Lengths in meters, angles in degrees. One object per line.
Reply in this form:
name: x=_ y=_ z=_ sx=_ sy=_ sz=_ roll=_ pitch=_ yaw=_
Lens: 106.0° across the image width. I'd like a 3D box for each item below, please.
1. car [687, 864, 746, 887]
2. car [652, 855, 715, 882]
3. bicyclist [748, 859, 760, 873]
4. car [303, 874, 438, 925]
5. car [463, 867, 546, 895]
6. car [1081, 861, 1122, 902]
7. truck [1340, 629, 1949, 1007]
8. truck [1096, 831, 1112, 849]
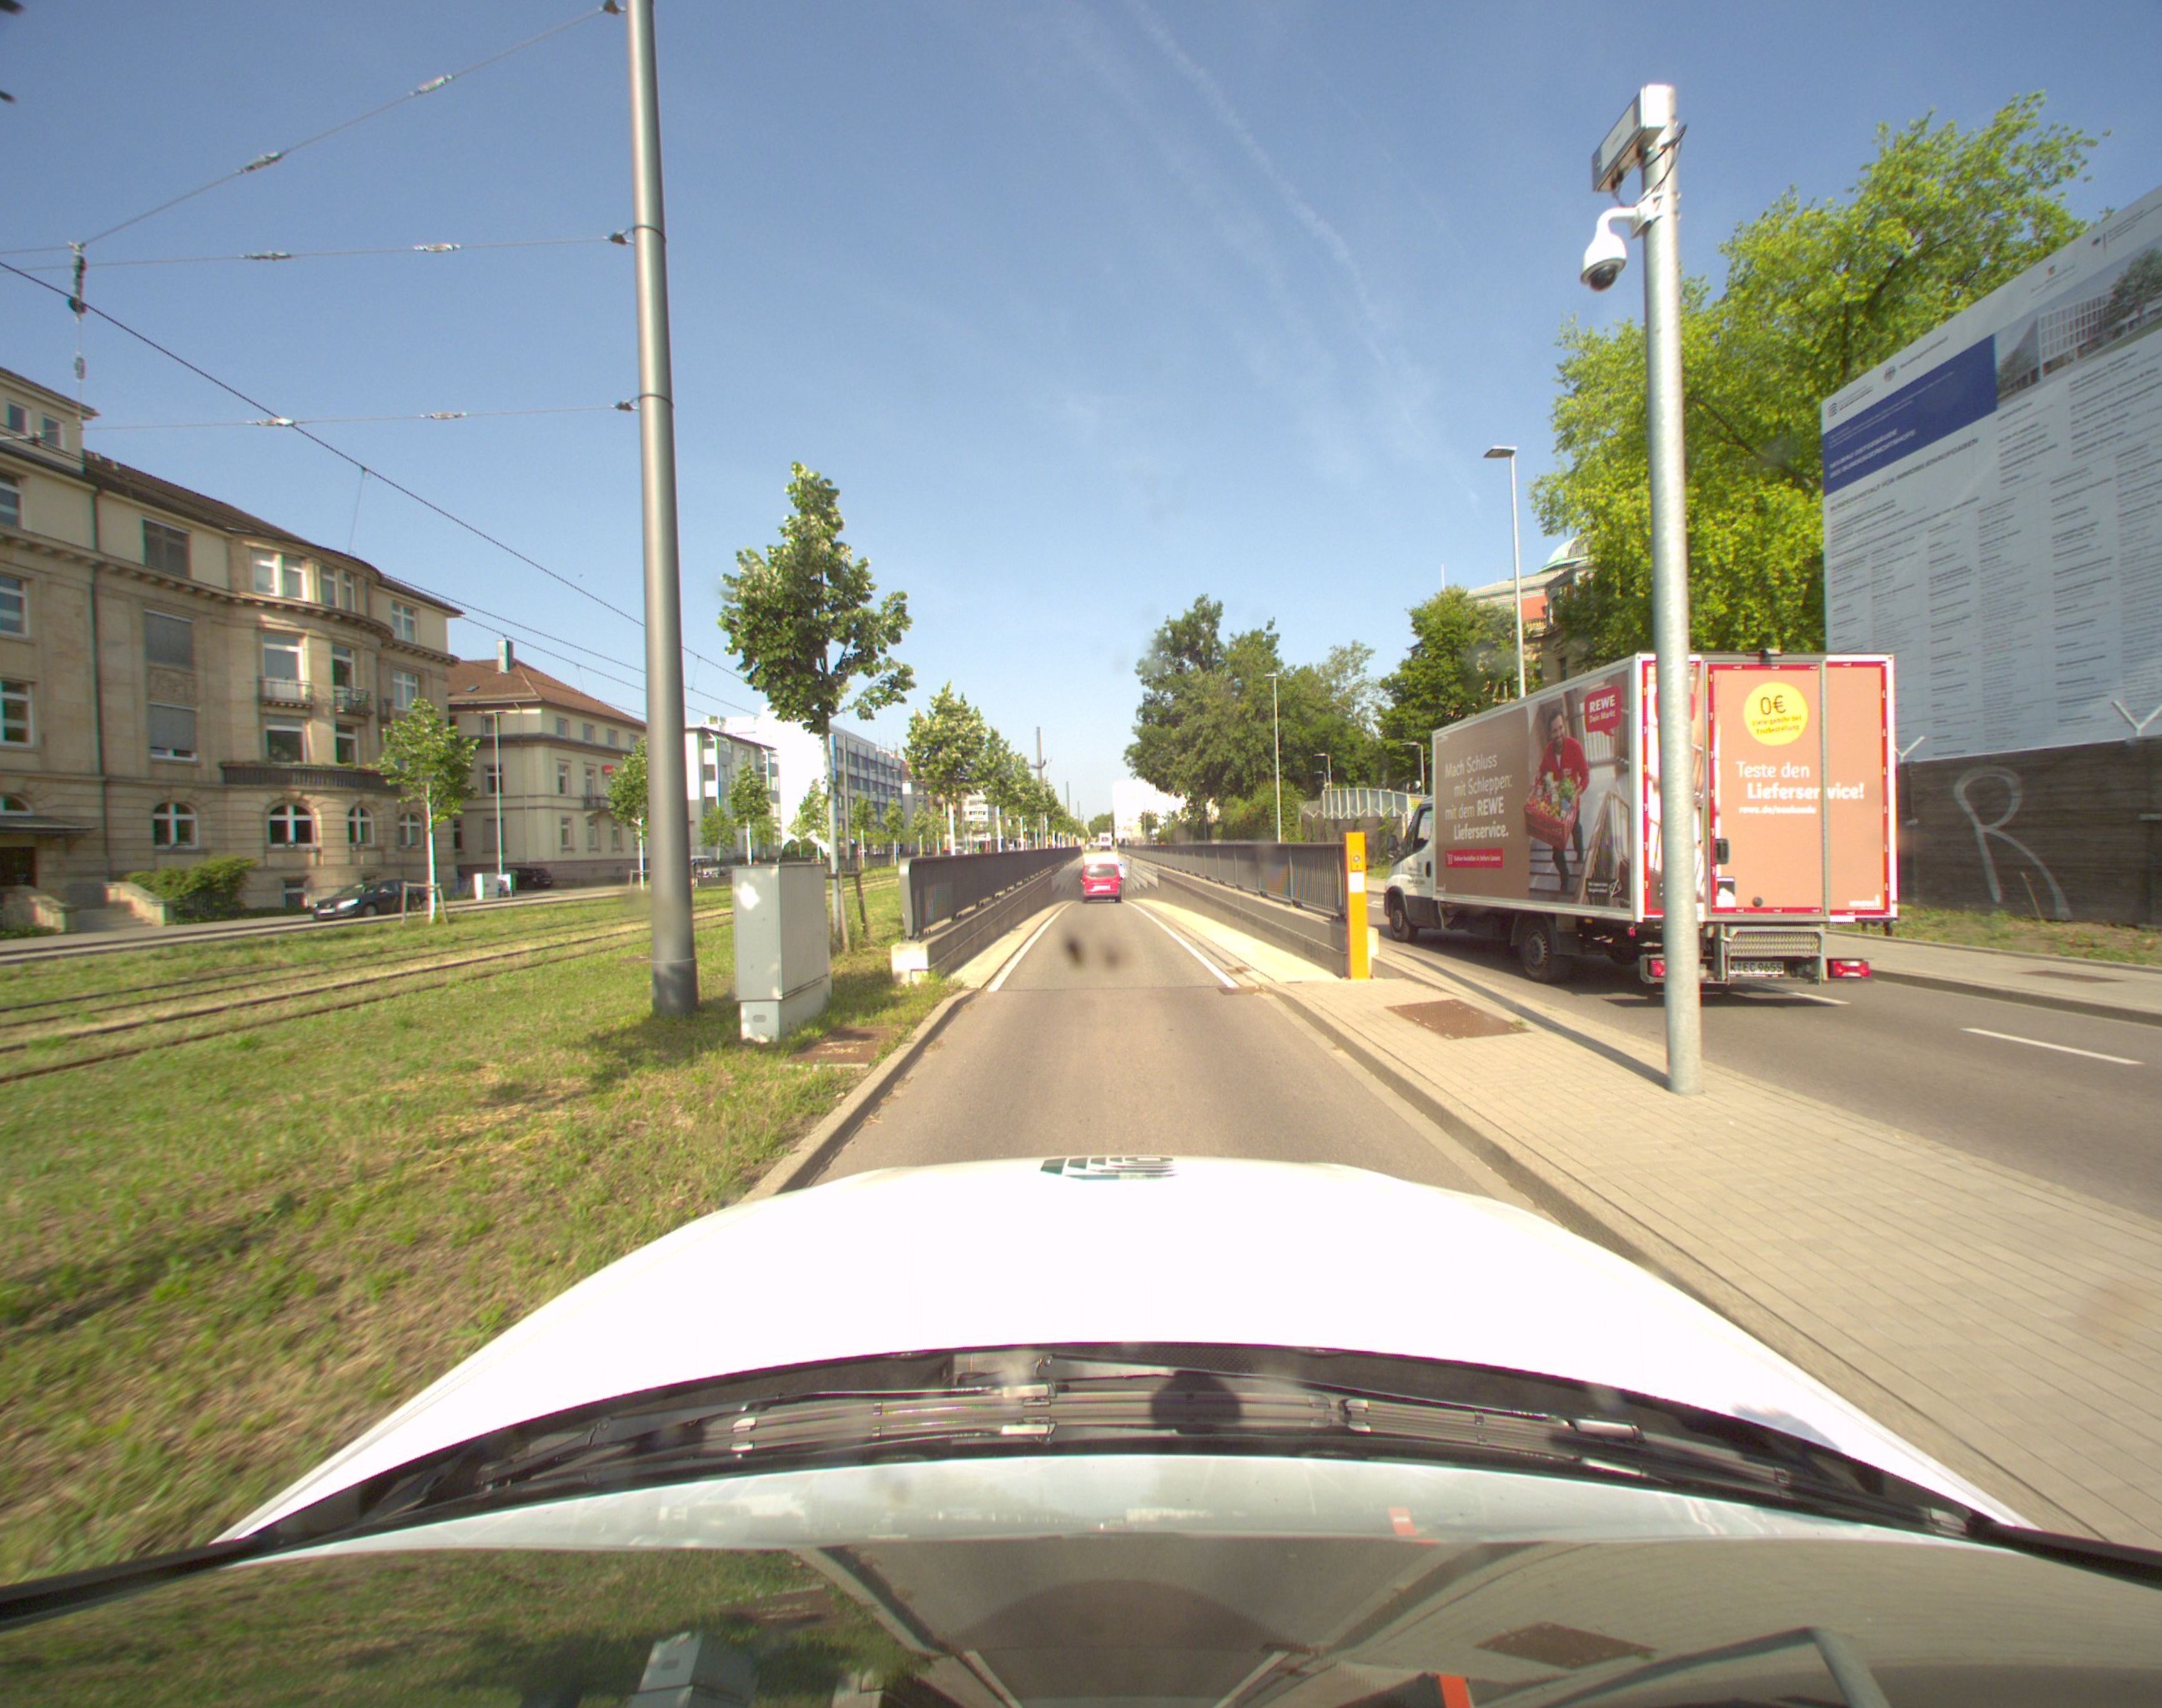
car: x=-25.578 y=1.486 z=57.344 sx=1.986 sy=1.467 sz=4.439 roll=-2 pitch=-1 yaw=2
car: x=-30.296 y=1.107 z=62.301 sx=2.242 sy=2.014 sz=5.262 roll=0 pitch=-1 yaw=0
bicyclist: x=-28.100 y=1.025 z=70.034 sx=0.530 sy=1.178 sz=1.251 roll=0 pitch=2 yaw=0
car: x=-26.060 y=1.621 z=30.051 sx=1.513 sy=1.464 sz=3.825 roll=-2 pitch=2 yaw=0
car: x=-36.472 y=1.705 z=51.569 sx=3.977 sy=1.552 sz=1.653 roll=-2 pitch=0 yaw=-3
car: x=1.064 y=1.293 z=39.729 sx=1.893 sy=1.859 sz=4.003 roll=0 pitch=1 yaw=3
truck: x=5.818 y=-0.293 z=10.512 sx=2.494 sy=3.061 sz=7.819 roll=0 pitch=0 yaw=0
truck: x=5.224 y=-3.155 z=183.638 sx=3.379 sy=3.726 sz=10.453 roll=-2 pitch=0 yaw=1
